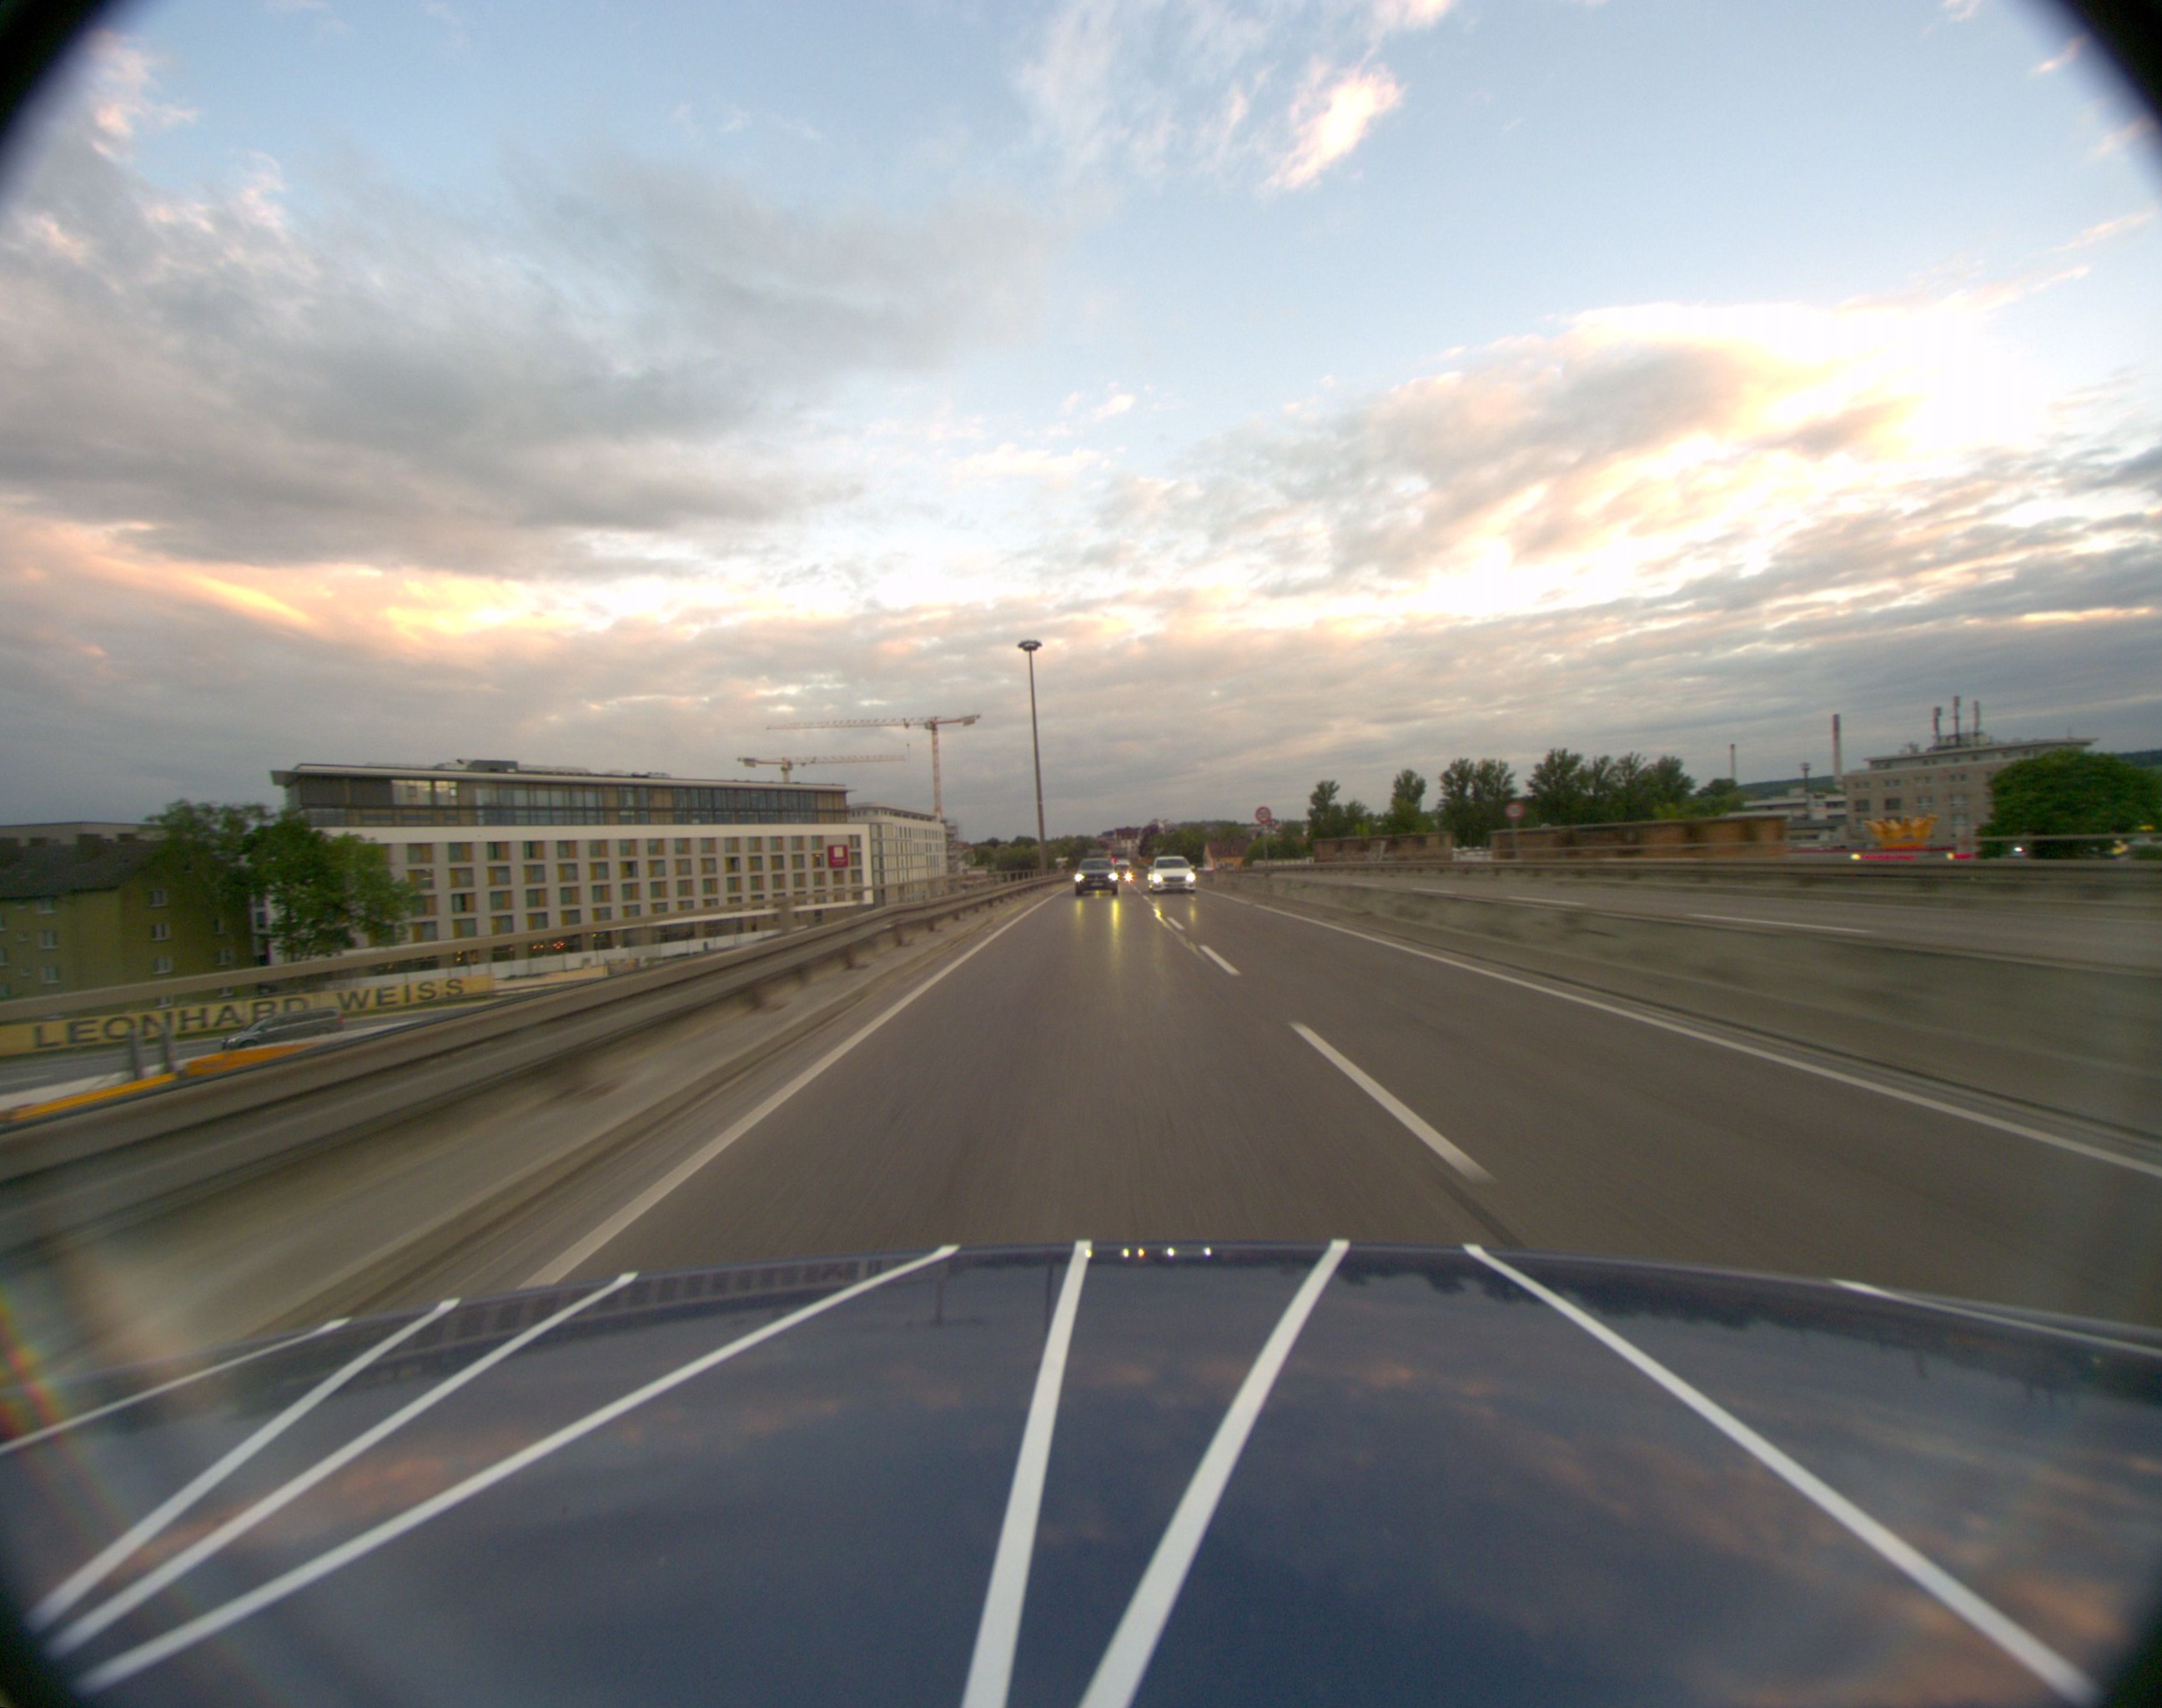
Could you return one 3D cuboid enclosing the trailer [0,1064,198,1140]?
[{"bbox_3d":[-43.753,10.951,33.769,1.998,1.339,5.873,-8,0,1],"label":"trailer"}]

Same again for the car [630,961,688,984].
[{"bbox_3d":[-37.434,10.499,67.508,1.909,1.432,4.008,-8,-5,42],"label":"car"}]

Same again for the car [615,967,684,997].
[{"bbox_3d":[-34.631,10.219,61.046,4.602,1.609,1.995,-3,-1,-36],"label":"car"}]

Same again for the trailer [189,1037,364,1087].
[{"bbox_3d":[-41.296,10.649,39.188,5.877,1.340,2.024,-2,1,-18],"label":"trailer"}]

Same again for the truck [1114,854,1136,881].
[{"bbox_3d":[7.869,2.325,134.103,3.164,4.369,8.796,-2,1,7],"label":"truck"}]

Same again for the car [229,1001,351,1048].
[{"bbox_3d":[-49.718,10.675,47.873,1.995,1.866,5.102,-5,-2,38],"label":"car"}]

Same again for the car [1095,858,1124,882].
[{"bbox_3d":[2.166,1.161,56.774,1.890,1.641,4.346,-3,-1,4],"label":"car"}]

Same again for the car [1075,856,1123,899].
[{"bbox_3d":[0.783,0.938,32.333,1.823,1.602,4.213,-4,0,2],"label":"car"}]

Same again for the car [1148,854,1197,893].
[{"bbox_3d":[3.948,0.836,33.433,1.695,1.528,4.784,-2,0,2],"label":"car"}]
